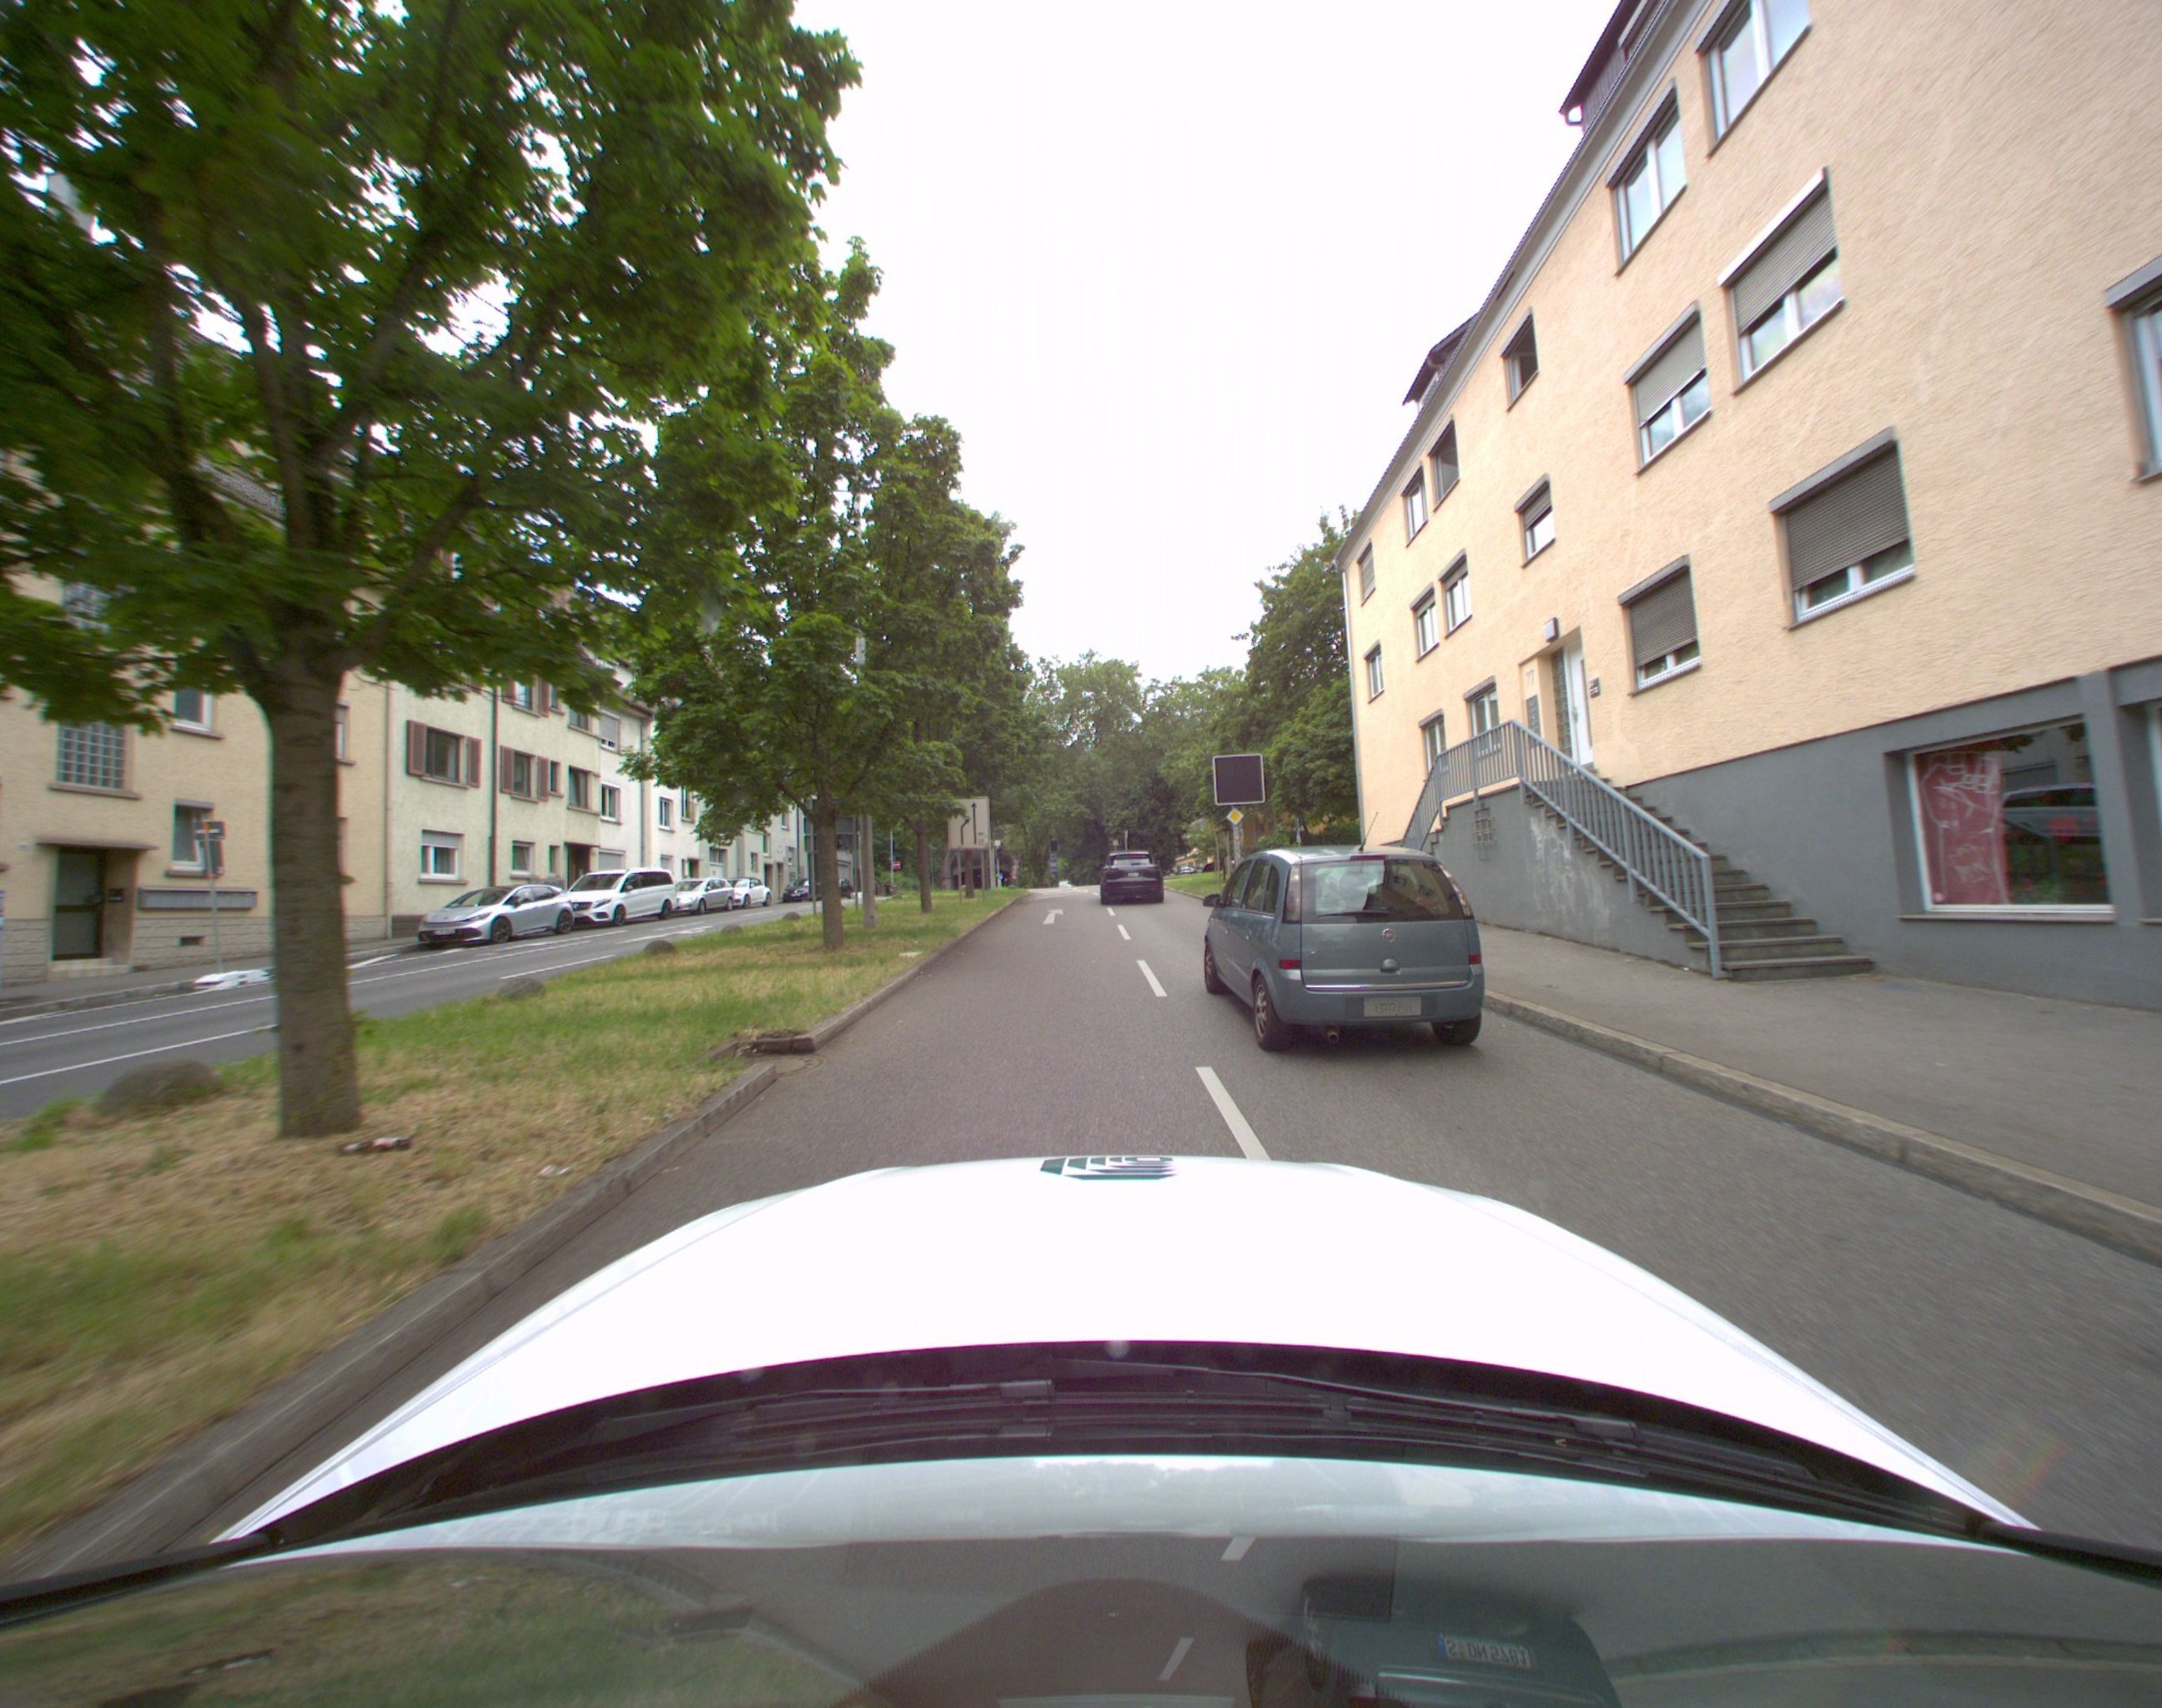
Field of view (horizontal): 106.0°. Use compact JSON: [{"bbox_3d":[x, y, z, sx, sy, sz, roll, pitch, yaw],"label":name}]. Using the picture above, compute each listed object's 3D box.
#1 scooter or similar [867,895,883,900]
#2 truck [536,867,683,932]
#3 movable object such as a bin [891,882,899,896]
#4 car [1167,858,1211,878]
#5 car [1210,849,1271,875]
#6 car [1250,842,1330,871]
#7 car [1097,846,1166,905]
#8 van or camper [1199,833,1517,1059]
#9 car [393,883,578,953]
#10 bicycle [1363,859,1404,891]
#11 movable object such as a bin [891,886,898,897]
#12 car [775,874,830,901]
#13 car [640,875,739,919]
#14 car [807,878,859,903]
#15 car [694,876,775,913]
[{"bbox_3d":[-15.450,3.248,61.185,1.126,0.288,1.093,-3,-3,-16],"label":"scooter or similar"},{"bbox_3d":[-16.007,1.465,28.061,1.988,1.920,5.343,-3,-1,-1],"label":"truck"},{"bbox_3d":[-16.150,3.064,70.614,0.606,1.186,0.489,1,-4,-16],"label":"movable object such as a bin"},{"bbox_3d":[10.261,1.383,77.839,2.001,1.578,4.870,-3,-3,-20],"label":"car"},{"bbox_3d":[10.445,0.528,53.121,1.975,1.418,4.024,-4,-1,44],"label":"car"},{"bbox_3d":[12.302,0.161,48.047,4.118,1.428,1.856,-4,0,-10],"label":"car"},{"bbox_3d":[1.573,0.686,26.640,1.987,1.653,4.000,-4,-1,1],"label":"car"},{"bbox_3d":[2.226,0.660,7.589,1.729,1.578,3.645,-1,0,0],"label":"van or camper"},{"bbox_3d":[-16.040,1.664,22.266,1.988,1.552,4.155,-3,-1,-1],"label":"car"},{"bbox_3d":[7.671,0.520,20.734,0.486,0.773,1.559,-4,-1,3],"label":"bicycle"},{"bbox_3d":[-16.043,3.227,70.140,0.517,0.968,0.442,1,-4,-16],"label":"movable object such as a bin"},{"bbox_3d":[-16.342,1.992,48.016,1.990,1.423,4.205,-3,-2,-4],"label":"car"},{"bbox_3d":[-16.032,1.714,33.625,1.988,1.552,4.379,-3,-1,-1],"label":"car"},{"bbox_3d":[-16.176,2.350,53.372,1.987,1.400,4.516,-3,-2,0],"label":"car"},{"bbox_3d":[-16.261,1.874,38.504,1.987,1.474,4.157,-3,-1,0],"label":"car"}]
